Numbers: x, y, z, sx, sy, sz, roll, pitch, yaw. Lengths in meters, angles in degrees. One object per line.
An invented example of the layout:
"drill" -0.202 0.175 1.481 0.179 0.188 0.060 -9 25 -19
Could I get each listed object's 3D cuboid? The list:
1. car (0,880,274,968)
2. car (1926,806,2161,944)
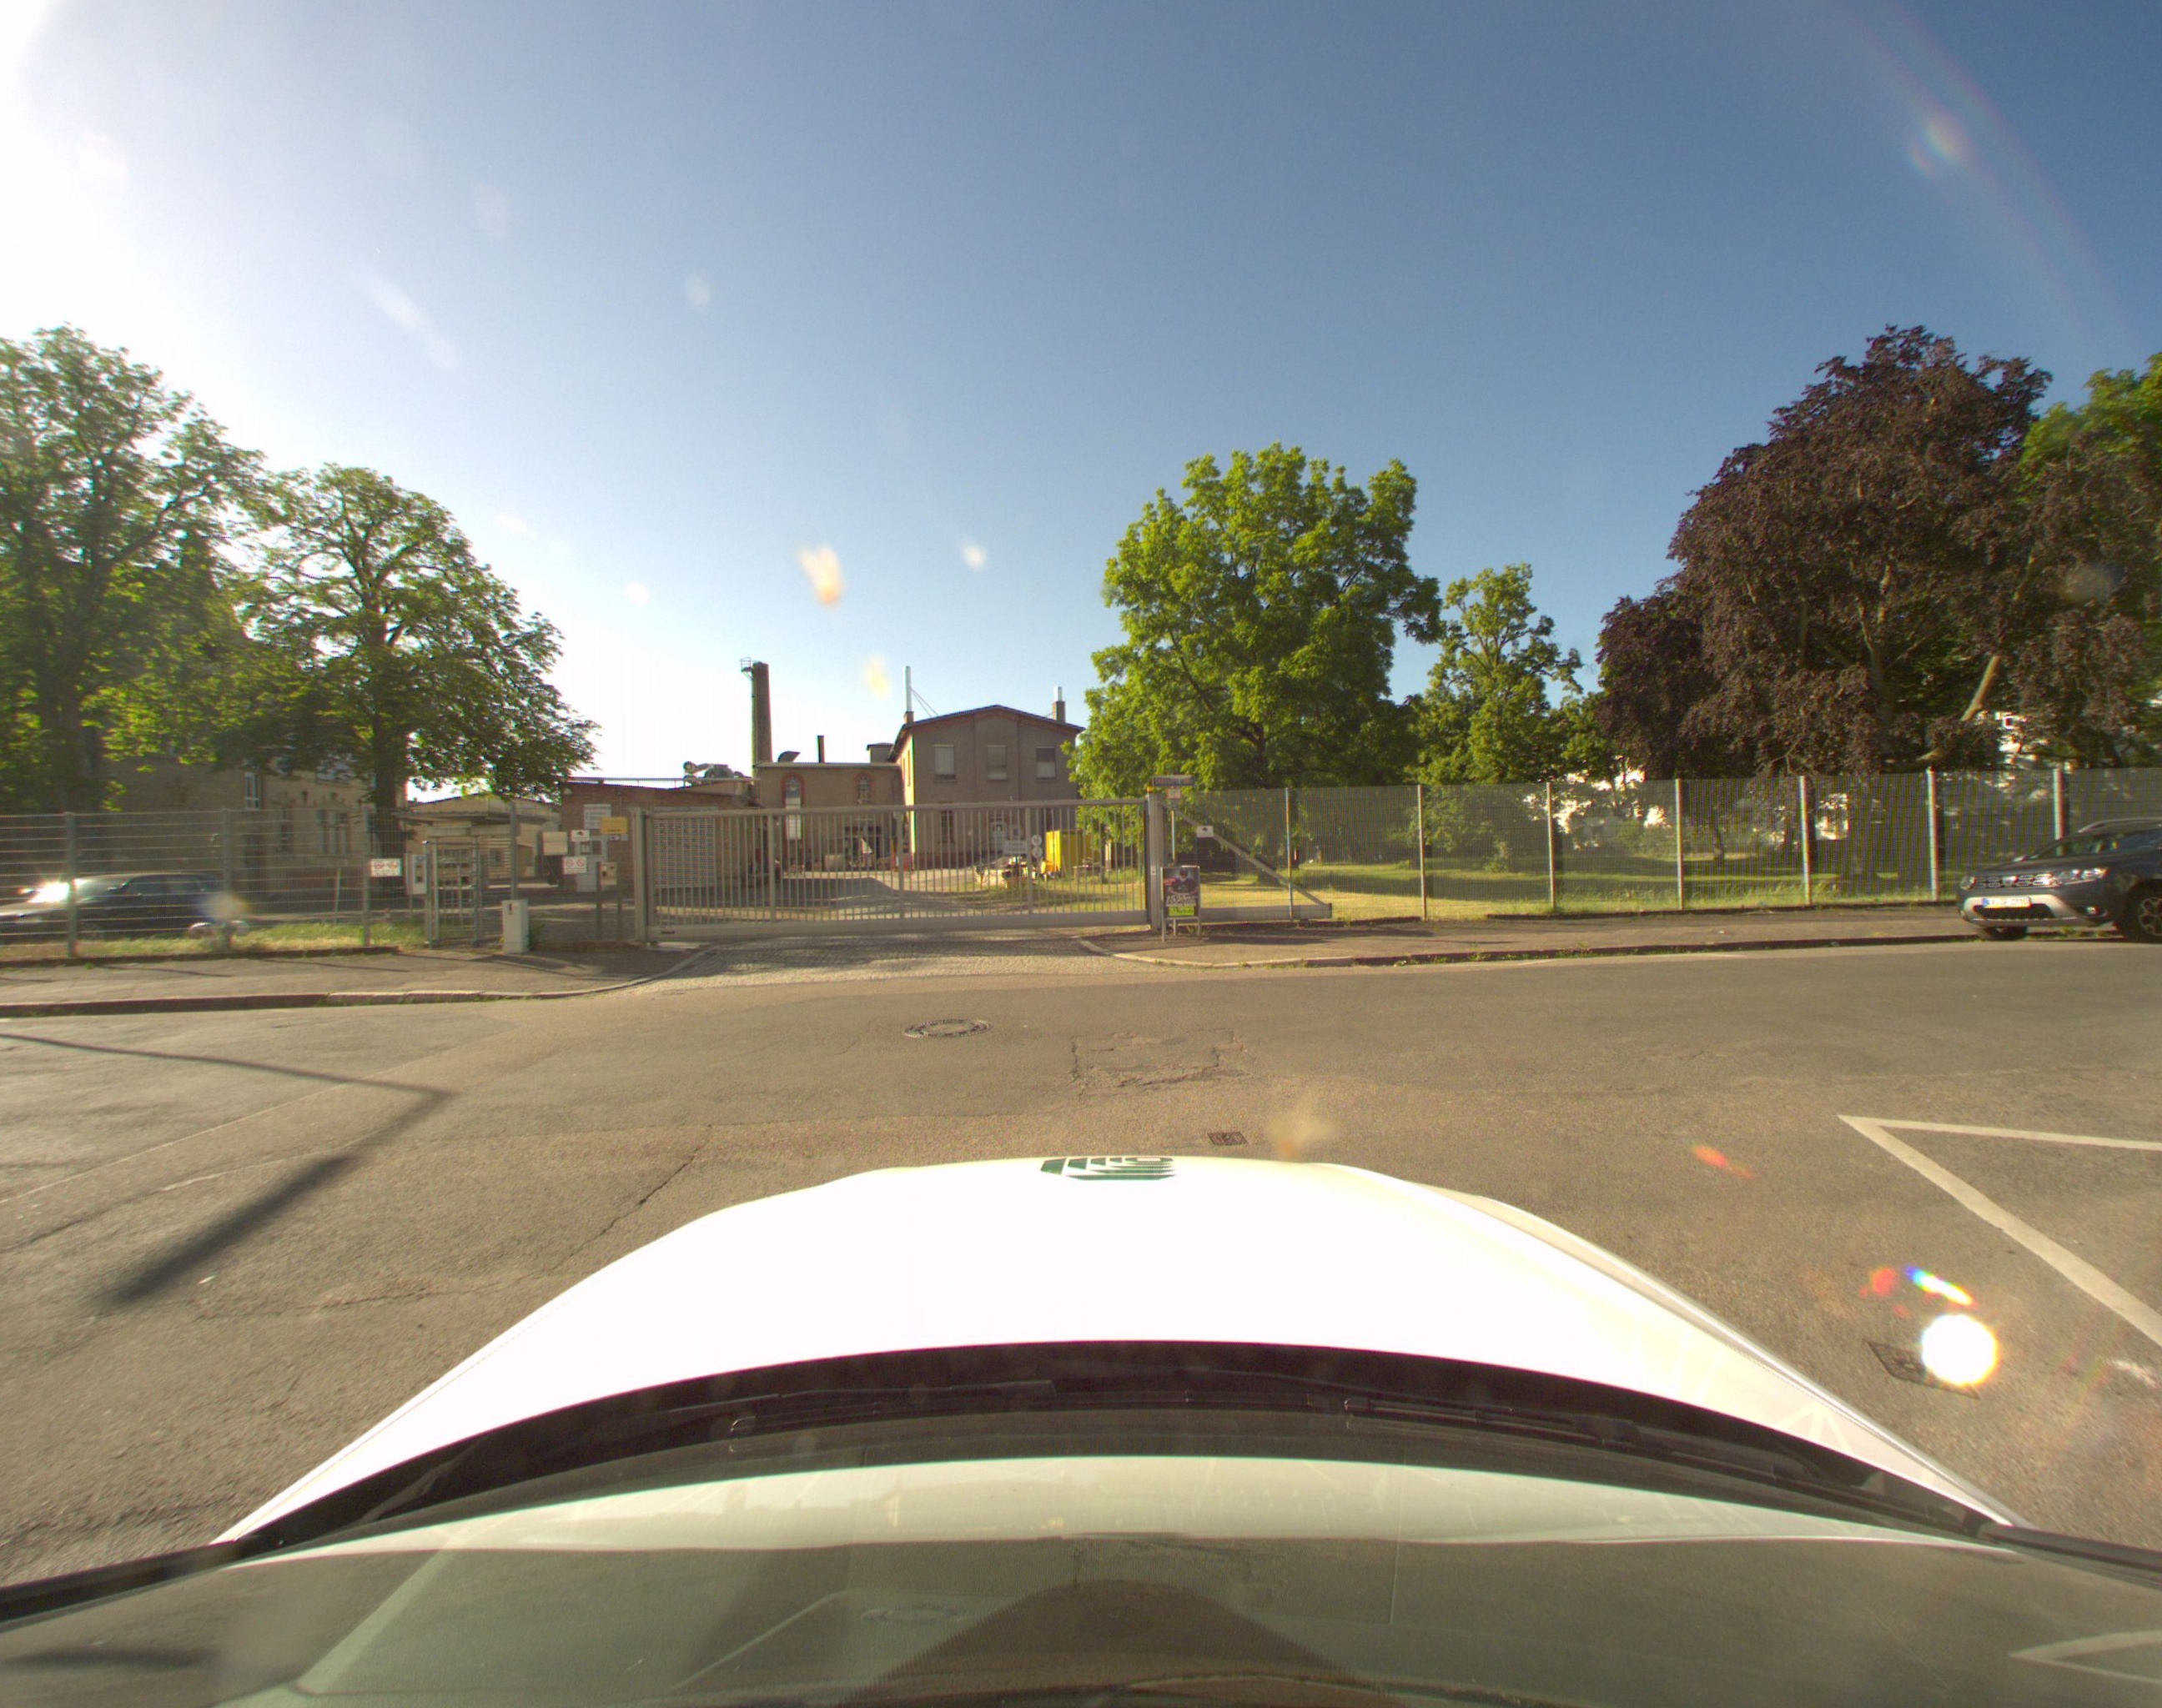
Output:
"car" -19.275 1.322 16.477 1.989 1.420 3.995 -2 0 -3
"car" 14.284 0.264 10.933 4.142 1.664 1.715 -1 -4 -3
